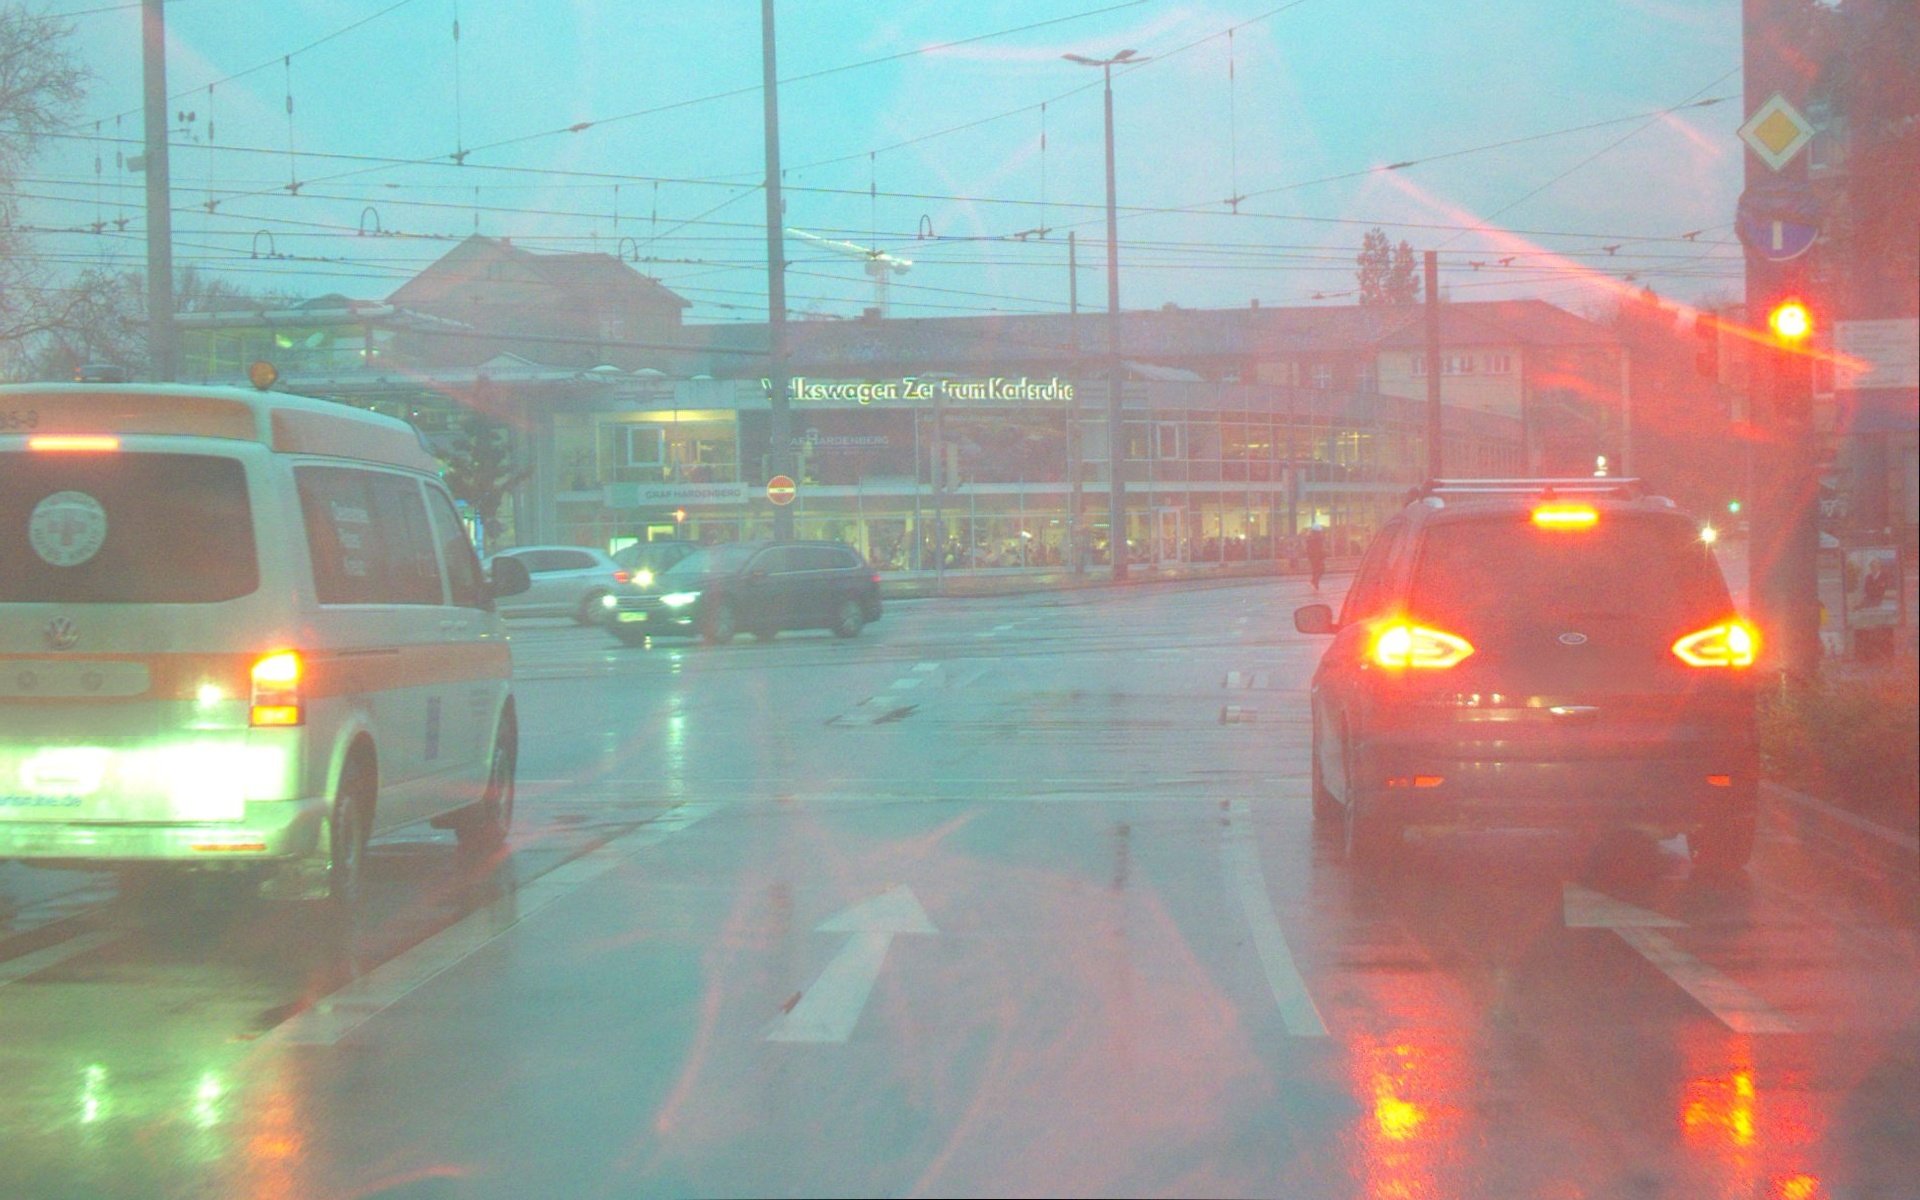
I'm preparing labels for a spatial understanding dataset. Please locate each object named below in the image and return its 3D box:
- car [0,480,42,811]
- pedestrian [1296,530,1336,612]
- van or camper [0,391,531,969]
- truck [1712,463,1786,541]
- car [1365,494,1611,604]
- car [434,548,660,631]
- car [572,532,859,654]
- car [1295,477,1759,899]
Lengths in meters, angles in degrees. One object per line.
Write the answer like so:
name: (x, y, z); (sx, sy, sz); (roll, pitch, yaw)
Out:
car: (-6.059, 0.269, 17.167); (1.884, 1.766, 4.000); (-1, 1, 0)
pedestrian: (8.015, -0.659, 77.468); (0.591, 1.834, 0.619); (-2, 1, -33)
van or camper: (-3.390, 0.252, 15.053); (2.202, 2.102, 4.987); (0, 1, 2)
truck: (28.043, -3.459, 122.029); (1.995, 2.682, 5.111); (-1, 1, 19)
car: (10.245, -0.995, 66.962); (4.402, 2.007, 1.911); (-2, 1, -2)
car: (-7.396, -0.198, 61.489); (3.803, 1.362, 1.852); (-2, 1, -13)
car: (-3.411, -0.118, 48.636); (1.997, 1.597, 3.993); (-1, 1, 33)
car: (2.634, 0.322, 16.880); (1.778, 1.794, 4.424); (0, 1, 3)
